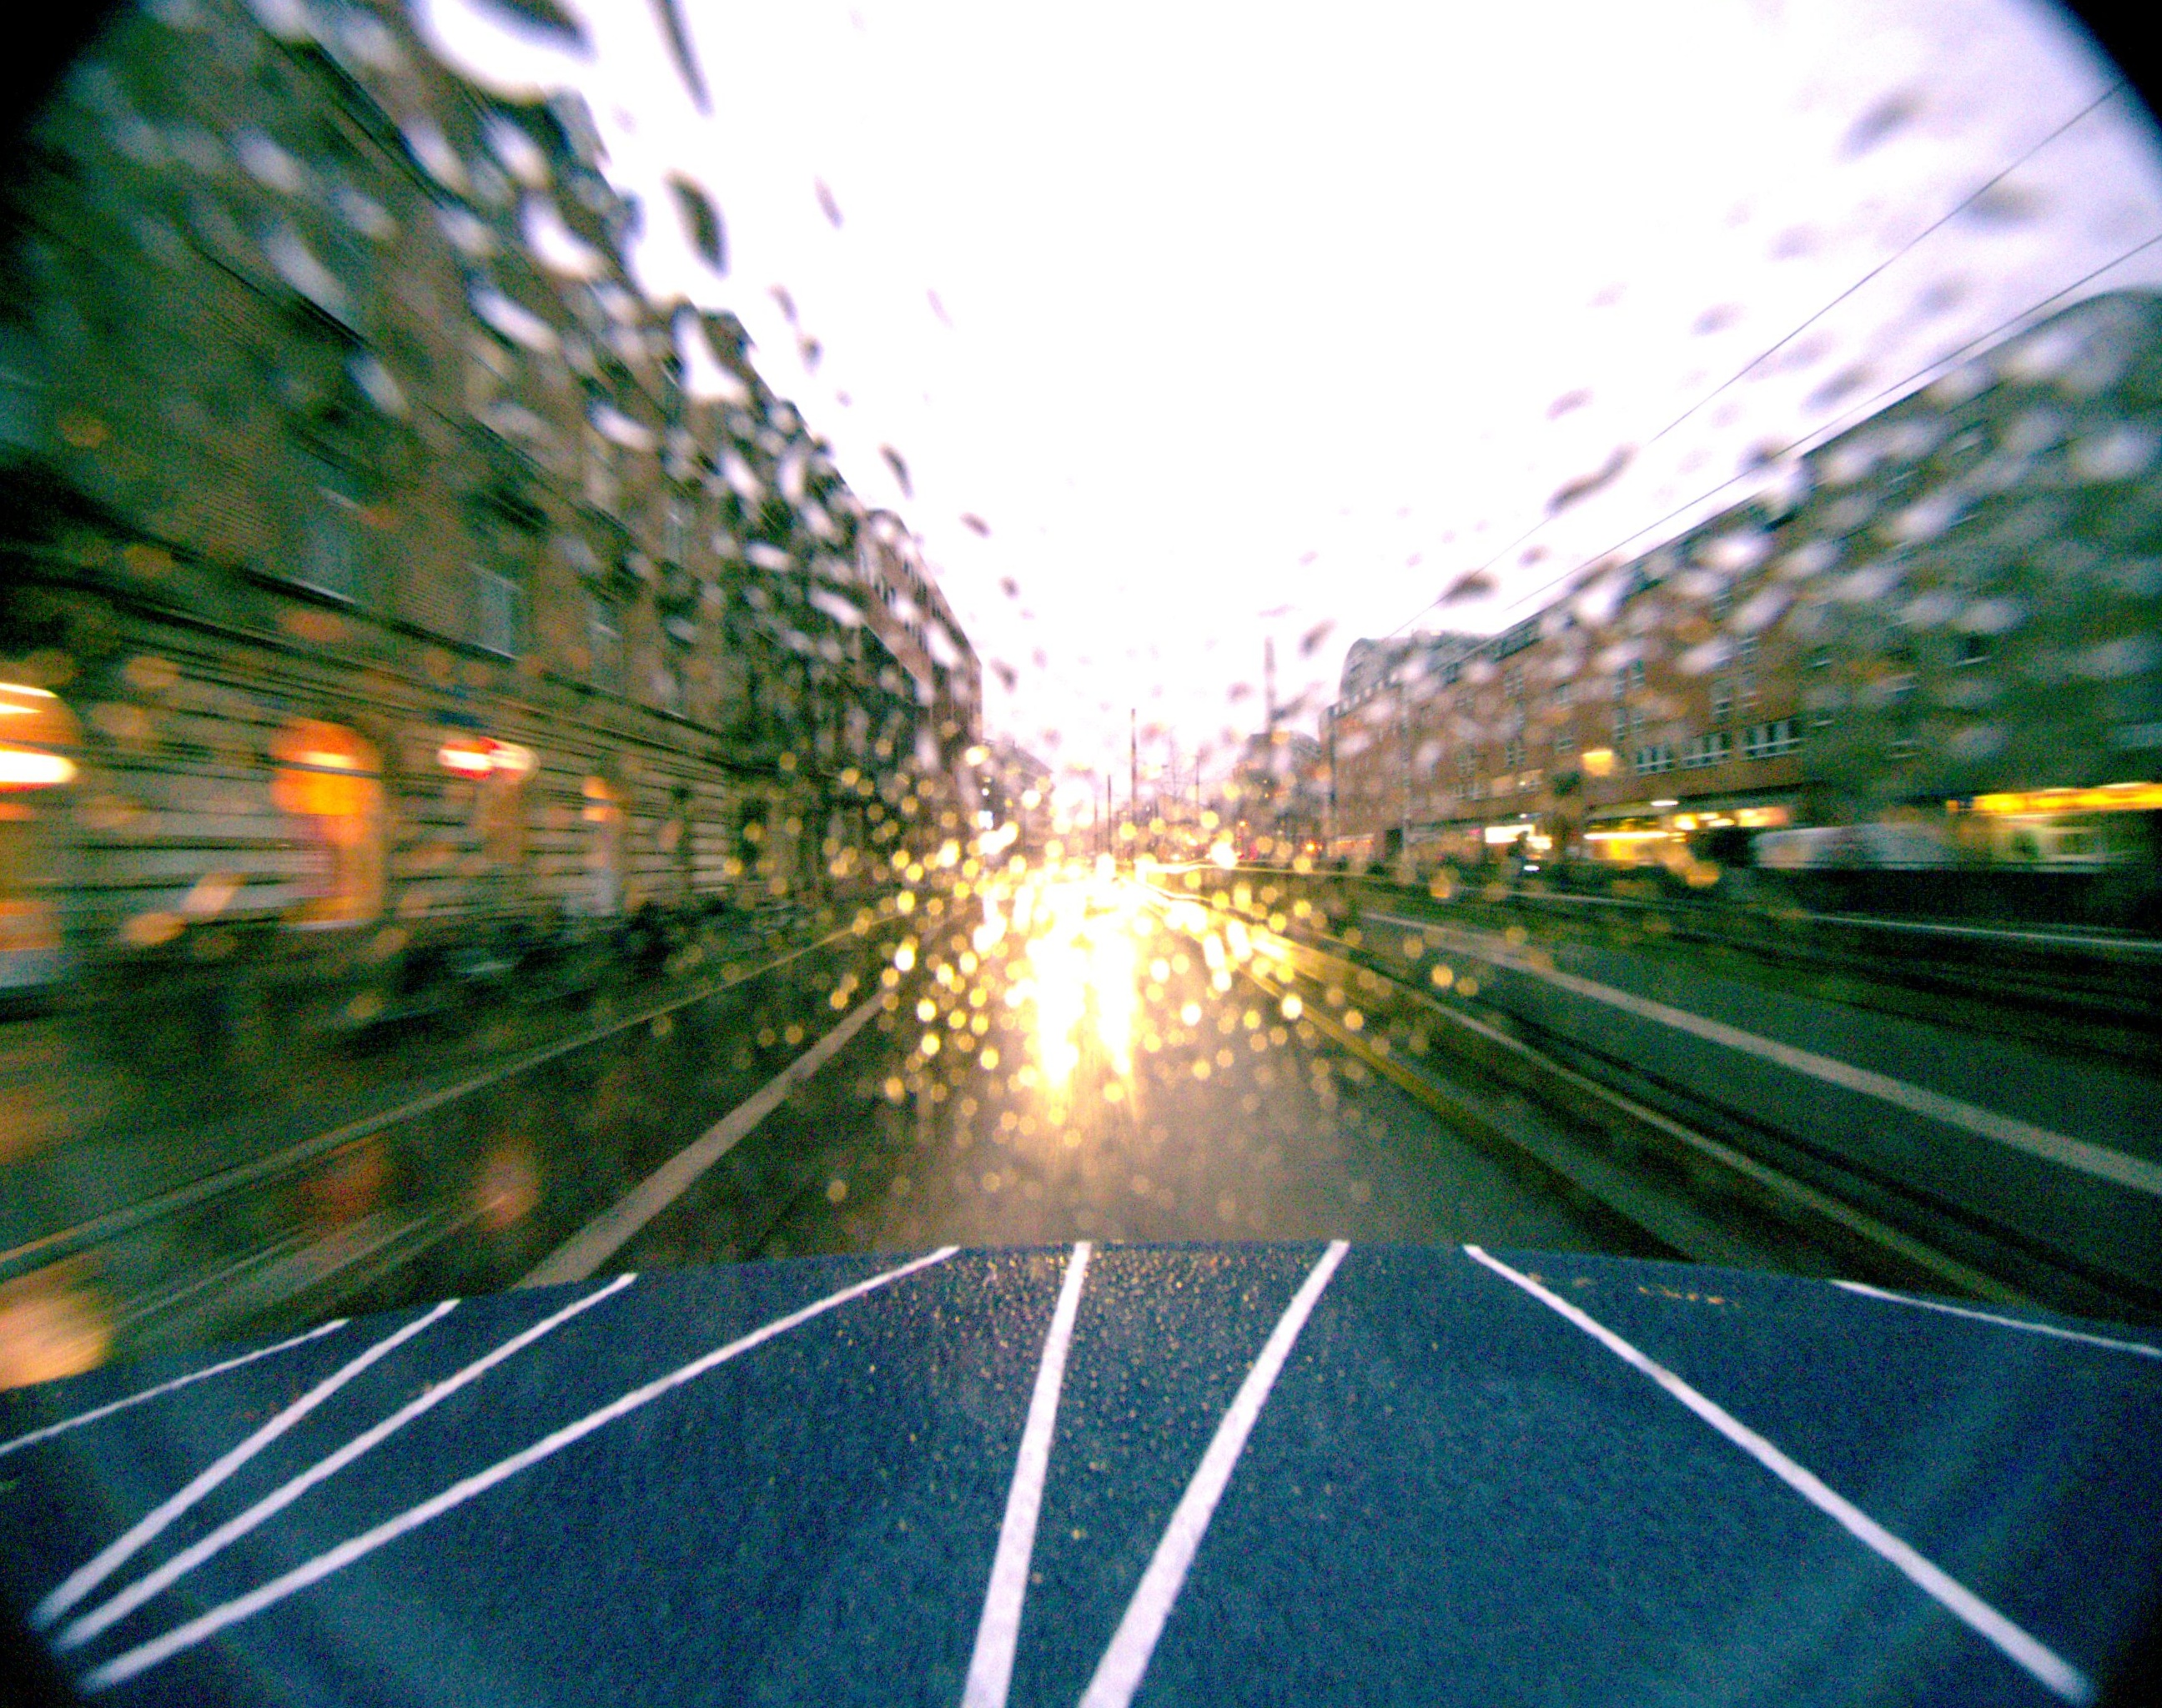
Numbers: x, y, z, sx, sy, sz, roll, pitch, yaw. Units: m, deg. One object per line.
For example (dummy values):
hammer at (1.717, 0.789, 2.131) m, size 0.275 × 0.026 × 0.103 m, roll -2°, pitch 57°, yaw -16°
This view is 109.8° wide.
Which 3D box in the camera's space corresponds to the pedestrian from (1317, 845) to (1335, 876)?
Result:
pedestrian at (12.464, 0.332, 38.708) m, size 0.636 × 1.515 × 0.756 m, roll -3°, pitch 1°, yaw 0°

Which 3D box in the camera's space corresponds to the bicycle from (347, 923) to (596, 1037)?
bicycle at (-6.652, 1.350, 8.437) m, size 2.097 × 1.046 × 0.477 m, roll 0°, pitch 1°, yaw -26°

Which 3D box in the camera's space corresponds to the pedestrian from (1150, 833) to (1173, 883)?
pedestrian at (3.409, 0.183, 32.364) m, size 0.812 × 2.098 × 0.804 m, roll -1°, pitch 1°, yaw -3°

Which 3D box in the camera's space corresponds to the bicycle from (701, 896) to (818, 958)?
bicycle at (-6.117, 1.381, 14.484) m, size 2.013 × 1.089 × 0.425 m, roll 2°, pitch 1°, yaw -1°

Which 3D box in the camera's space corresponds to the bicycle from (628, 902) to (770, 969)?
bicycle at (-6.431, 1.361, 12.830) m, size 2.149 × 1.048 × 0.425 m, roll 1°, pitch -1°, yaw -1°

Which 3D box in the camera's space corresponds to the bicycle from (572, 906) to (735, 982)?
bicycle at (-6.393, 1.345, 11.408) m, size 2.149 × 1.048 × 0.425 m, roll 2°, pitch -1°, yaw -1°

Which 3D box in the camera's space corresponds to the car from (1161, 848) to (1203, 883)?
car at (4.545, 0.499, 34.479) m, size 1.435 × 1.433 × 3.136 m, roll -3°, pitch 0°, yaw 1°

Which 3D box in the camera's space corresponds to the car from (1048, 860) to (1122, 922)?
car at (0.096, 0.928, 20.933) m, size 1.774 × 1.449 × 4.221 m, roll -3°, pitch 0°, yaw 0°

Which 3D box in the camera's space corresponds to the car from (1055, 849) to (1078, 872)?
car at (-1.400, 0.582, 72.910) m, size 1.998 × 2.002 × 4.000 m, roll -3°, pitch 0°, yaw 1°

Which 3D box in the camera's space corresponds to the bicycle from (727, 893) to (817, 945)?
bicycle at (-6.508, 1.370, 16.048) m, size 1.734 × 1.049 × 0.371 m, roll 0°, pitch 1°, yaw -1°

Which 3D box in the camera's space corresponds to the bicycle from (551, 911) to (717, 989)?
bicycle at (-6.396, 1.375, 10.920) m, size 2.093 × 1.046 × 0.478 m, roll 1°, pitch 1°, yaw -1°

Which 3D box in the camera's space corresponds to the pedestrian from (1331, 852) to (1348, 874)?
pedestrian at (13.314, 0.465, 39.155) m, size 0.608 × 1.096 × 0.591 m, roll -3°, pitch 1°, yaw 0°

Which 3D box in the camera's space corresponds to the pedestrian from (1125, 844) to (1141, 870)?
pedestrian at (3.490, 0.178, 51.100) m, size 0.779 × 1.694 × 0.772 m, roll -2°, pitch 1°, yaw -18°

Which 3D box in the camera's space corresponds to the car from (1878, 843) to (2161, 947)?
car at (15.321, 0.534, 12.022) m, size 1.686 × 1.346 × 3.545 m, roll -2°, pitch 1°, yaw -1°

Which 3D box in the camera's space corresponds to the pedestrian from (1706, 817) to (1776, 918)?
pedestrian at (12.120, 0.240, 13.954) m, size 0.799 × 1.769 × 0.820 m, roll -3°, pitch 1°, yaw -41°

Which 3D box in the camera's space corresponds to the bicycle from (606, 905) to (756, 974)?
bicycle at (-6.420, 1.375, 12.260) m, size 2.149 × 1.049 × 0.484 m, roll 0°, pitch 1°, yaw -1°

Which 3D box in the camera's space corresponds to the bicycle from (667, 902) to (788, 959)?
bicycle at (-6.503, 1.407, 14.024) m, size 2.013 × 0.965 × 0.425 m, roll 2°, pitch 1°, yaw -1°

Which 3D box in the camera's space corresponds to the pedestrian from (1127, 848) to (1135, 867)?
pedestrian at (4.290, 0.294, 64.881) m, size 0.620 × 1.581 × 0.622 m, roll -1°, pitch 1°, yaw -2°

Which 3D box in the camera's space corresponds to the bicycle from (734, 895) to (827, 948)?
bicycle at (-6.139, 1.374, 15.552) m, size 1.734 × 1.049 × 0.371 m, roll 0°, pitch 1°, yaw -1°

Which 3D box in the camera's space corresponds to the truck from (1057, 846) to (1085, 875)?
truck at (-0.704, 0.466, 55.786) m, size 1.909 × 1.906 × 4.616 m, roll -3°, pitch 0°, yaw 0°

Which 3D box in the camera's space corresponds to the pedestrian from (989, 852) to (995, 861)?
pedestrian at (-17.971, 0.505, 152.786) m, size 1.152 × 1.776 × 0.777 m, roll -1°, pitch 1°, yaw -10°

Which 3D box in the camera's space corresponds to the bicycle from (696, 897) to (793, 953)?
bicycle at (-6.572, 1.386, 14.863) m, size 1.734 × 1.049 × 0.371 m, roll 0°, pitch 1°, yaw -1°

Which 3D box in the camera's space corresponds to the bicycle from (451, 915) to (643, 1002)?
bicycle at (-6.790, 1.323, 9.708) m, size 2.093 × 1.046 × 0.478 m, roll 0°, pitch 1°, yaw -1°

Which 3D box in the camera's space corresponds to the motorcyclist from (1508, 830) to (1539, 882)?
motorcyclist at (12.912, 0.066, 22.162) m, size 0.500 × 1.487 × 0.556 m, roll -3°, pitch 1°, yaw -5°

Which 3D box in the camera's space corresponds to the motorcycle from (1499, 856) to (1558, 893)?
motorcycle at (12.929, 0.571, 21.999) m, size 0.514 × 1.002 × 1.806 m, roll -3°, pitch 0°, yaw -4°

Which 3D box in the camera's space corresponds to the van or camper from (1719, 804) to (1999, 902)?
van or camper at (24.909, -0.043, 24.965) m, size 2.778 × 2.666 × 6.757 m, roll -3°, pitch 0°, yaw 7°
